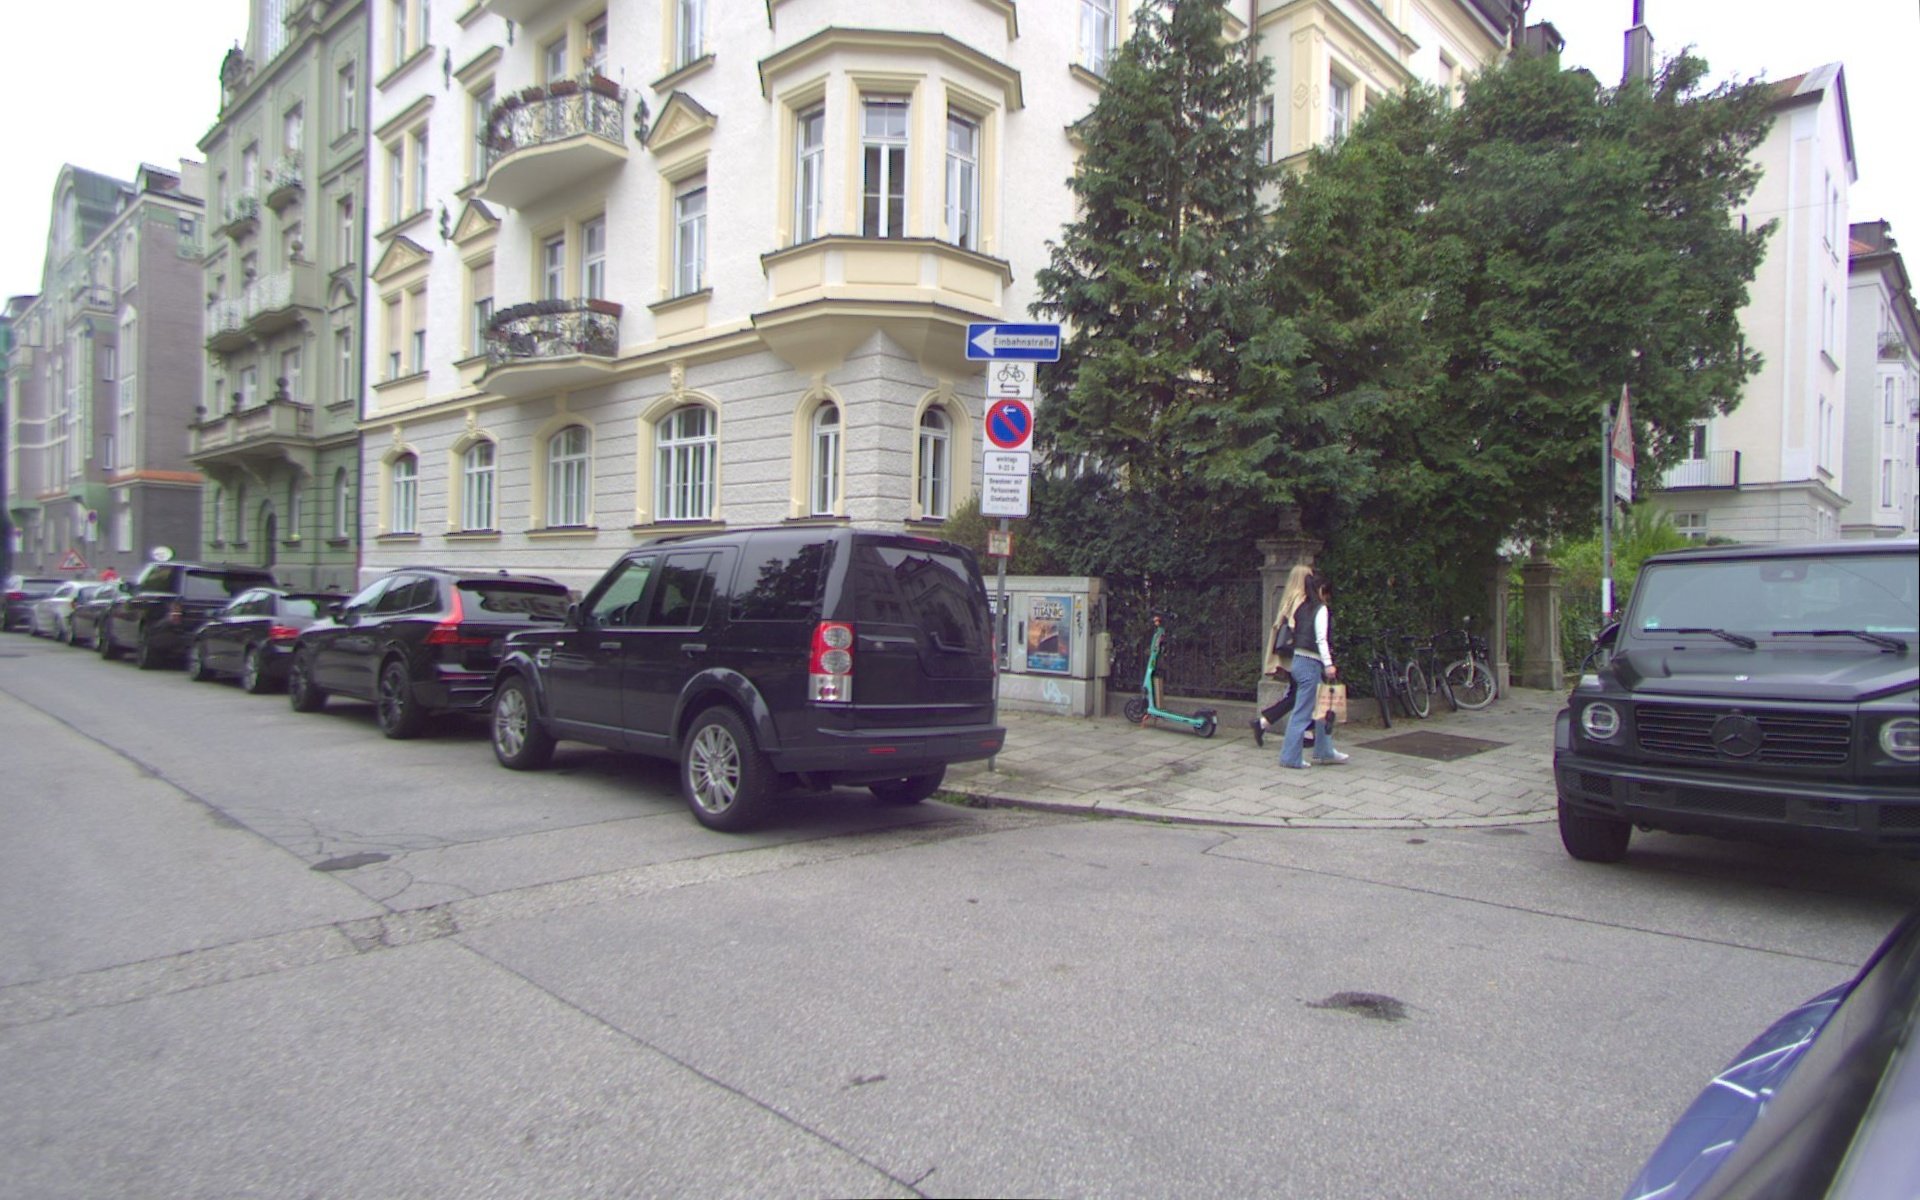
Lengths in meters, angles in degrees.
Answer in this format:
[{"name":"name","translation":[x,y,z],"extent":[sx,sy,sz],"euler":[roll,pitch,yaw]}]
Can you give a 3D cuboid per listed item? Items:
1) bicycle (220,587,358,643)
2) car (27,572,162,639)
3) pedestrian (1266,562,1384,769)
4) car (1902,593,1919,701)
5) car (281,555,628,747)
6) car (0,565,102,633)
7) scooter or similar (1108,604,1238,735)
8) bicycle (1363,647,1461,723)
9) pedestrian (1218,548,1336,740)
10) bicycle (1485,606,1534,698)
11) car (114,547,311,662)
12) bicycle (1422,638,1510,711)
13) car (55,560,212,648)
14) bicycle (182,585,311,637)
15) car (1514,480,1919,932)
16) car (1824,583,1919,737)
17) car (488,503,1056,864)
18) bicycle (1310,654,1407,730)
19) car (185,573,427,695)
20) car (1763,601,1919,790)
[{"name":"bicycle","translation":[-17.661,0.349,26.644],"extent":[2.464,1.283,2.471],"euler":[1,3,42]},{"name":"car","translation":[-21.121,0.122,24.655],"extent":[4.235,1.424,1.934],"euler":[3,0,42]},{"name":"pedestrian","translation":[3.121,0.516,8.643],"extent":[0.705,1.648,0.679],"euler":[3,2,40]},{"name":"car","translation":[16.528,0.733,16.405],"extent":[1.750,1.631,4.352],"euler":[-1,-1,44]},{"name":"car","translation":[-5.639,0.416,11.056],"extent":[4.235,1.670,1.934],"euler":[2,0,42]},{"name":"car","translation":[-25.170,-0.056,27.721],"extent":[4.235,1.670,1.934],"euler":[2,0,42]},{"name":"scooter or similar","translation":[2.156,0.667,10.362],"extent":[0.364,1.204,1.350],"euler":[0,2,-39]},{"name":"bicycle","translation":[5.179,0.947,11.563],"extent":[1.331,0.744,0.513],"euler":[0,1,-42]},{"name":"pedestrian","translation":[3.014,0.385,9.639],"extent":[0.683,1.723,0.736],"euler":[0,3,-39]},{"name":"bicycle","translation":[7.196,0.647,13.236],"extent":[0.510,1.108,1.340],"euler":[2,1,30]},{"name":"car","translation":[-13.224,0.027,17.821],"extent":[4.235,1.776,1.934],"euler":[2,0,42]},{"name":"bicycle","translation":[6.254,0.899,12.485],"extent":[1.331,0.791,0.513],"euler":[0,1,-42]},{"name":"car","translation":[-17.735,0.044,21.657],"extent":[4.235,1.670,1.934],"euler":[2,0,42]},{"name":"bicycle","translation":[-20.185,0.263,28.634],"extent":[2.464,1.283,2.471],"euler":[1,3,42]},{"name":"car","translation":[5.427,0.508,6.504],"extent":[4.586,1.979,1.953],"euler":[2,-1,-43]},{"name":"car","translation":[12.767,0.681,13.168],"extent":[4.337,1.792,1.725],"euler":[0,-1,-42]},{"name":"car","translation":[-1.671,0.406,7.771],"extent":[4.527,1.975,1.874],"euler":[2,0,42]},{"name":"bicycle","translation":[4.234,0.954,10.735],"extent":[1.103,0.691,0.513],"euler":[0,1,-42]},{"name":"car","translation":[-9.629,0.421,14.778],"extent":[4.097,1.459,1.934],"euler":[3,0,42]},{"name":"car","translation":[9.079,0.788,9.683],"extent":[3.571,1.538,1.723],"euler":[0,-1,-44]}]
